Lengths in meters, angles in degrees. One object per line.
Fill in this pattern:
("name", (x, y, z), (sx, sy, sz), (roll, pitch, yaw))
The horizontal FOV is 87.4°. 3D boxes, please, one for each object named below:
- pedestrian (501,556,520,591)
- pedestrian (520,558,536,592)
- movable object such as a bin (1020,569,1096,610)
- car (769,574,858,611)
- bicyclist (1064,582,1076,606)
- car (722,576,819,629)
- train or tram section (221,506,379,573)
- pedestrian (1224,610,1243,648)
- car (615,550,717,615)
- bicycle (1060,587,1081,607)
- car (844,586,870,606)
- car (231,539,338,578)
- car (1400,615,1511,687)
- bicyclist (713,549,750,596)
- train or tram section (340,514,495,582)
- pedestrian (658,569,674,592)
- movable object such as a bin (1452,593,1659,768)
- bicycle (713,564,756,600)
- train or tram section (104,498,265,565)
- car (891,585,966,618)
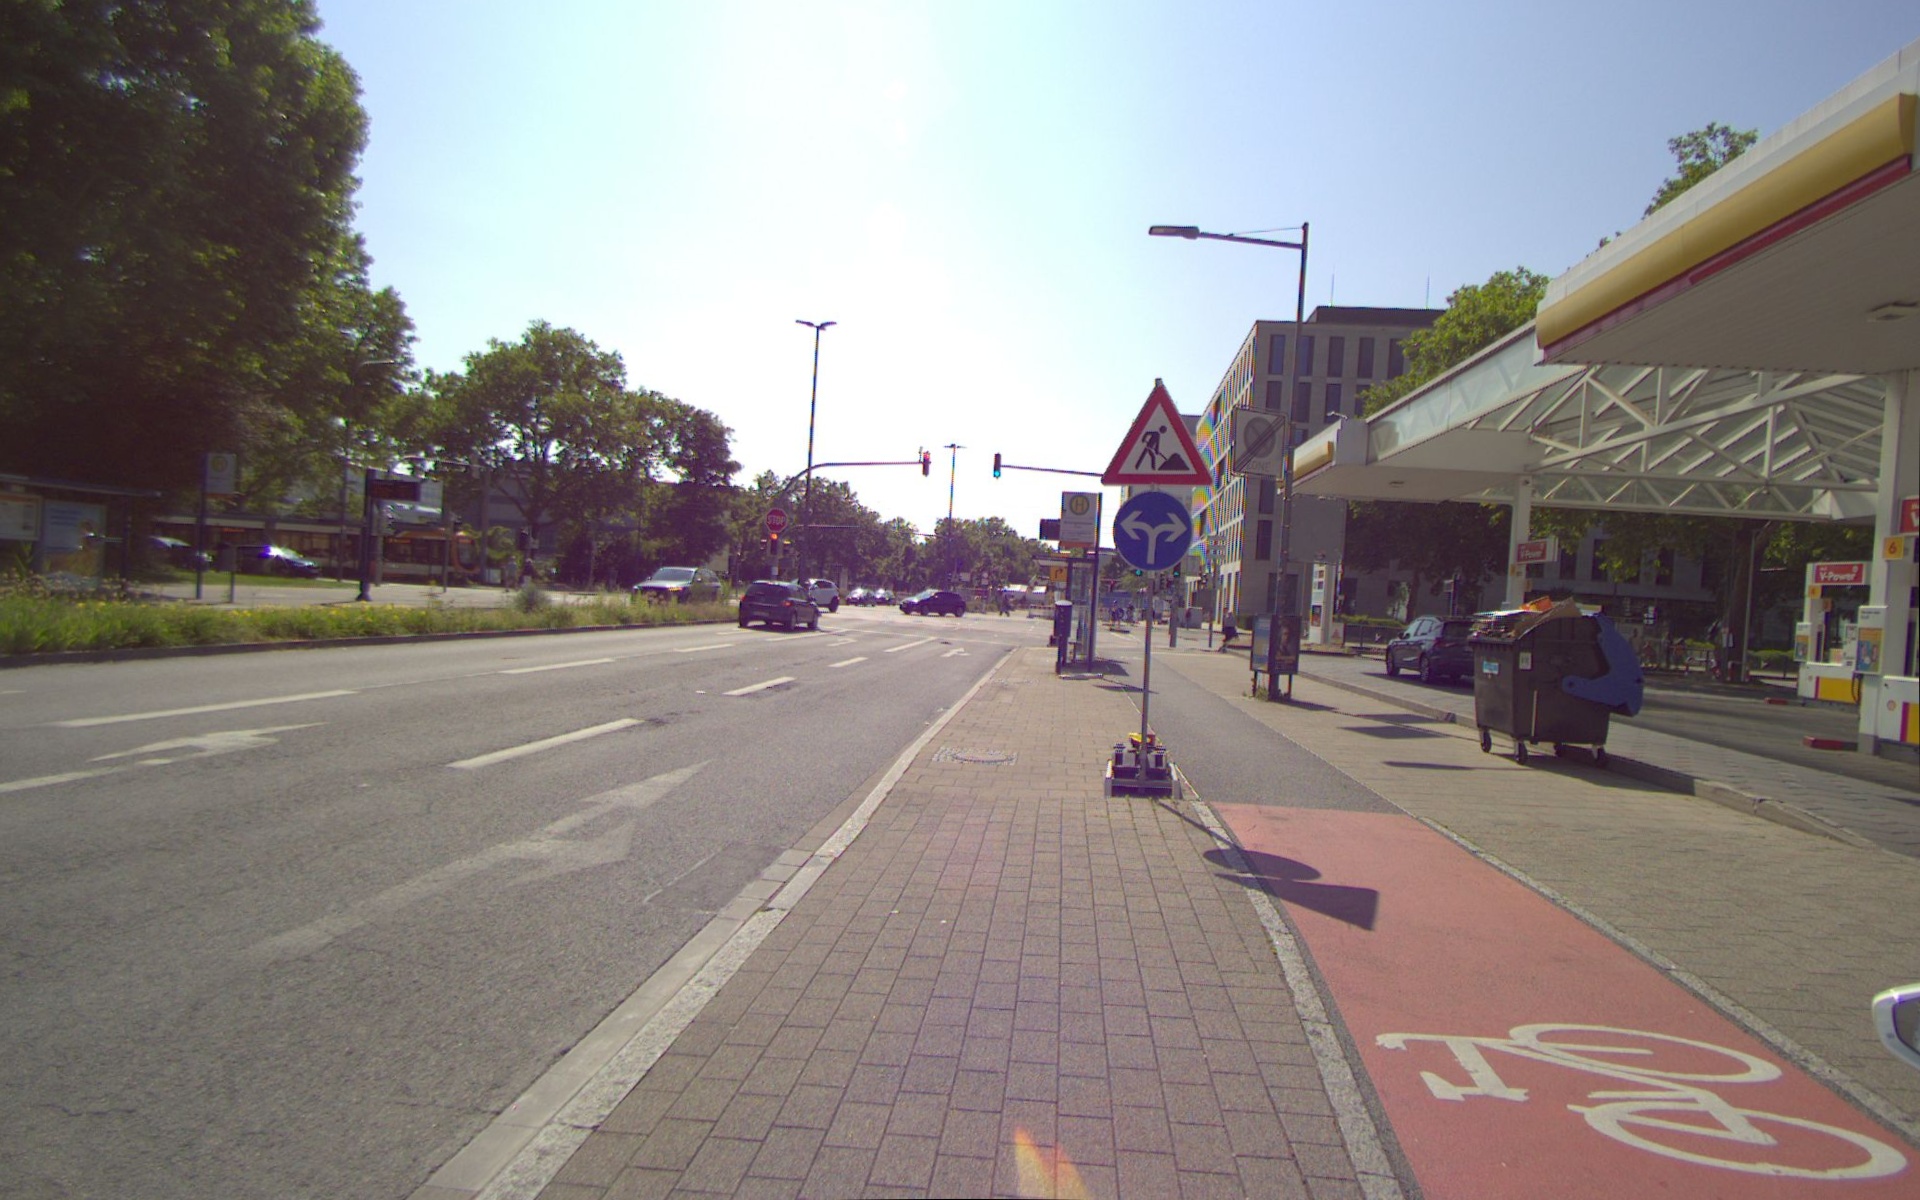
("pedestrian", (-23.697, -1.395, 52.957), (0.649, 1.749, 0.751), (3, 1, -12))
("pedestrian", (-22.835, -1.337, 53.141), (0.559, 1.749, 0.732), (3, 1, -12))
("movable object such as a bin", (13.003, -1.368, 133.061), (9.511, 4.610, 3.165), (4, 1, 8))
("car", (-7.398, -0.352, 51.186), (1.963, 1.658, 4.864), (4, 0, 27))
("bicyclist", (12.221, -0.668, 111.550), (1.051, 2.608, 0.828), (4, 0, 12))
("car", (-5.876, 0.079, 31.642), (1.960, 1.416, 4.001), (4, 0, 4))
("train or tram section", (-39.586, -3.577, 60.401), (7.428, 3.376, 3.121), (4, 0, 4))
("pedestrian", (11.711, 1.239, 43.053), (0.608, 1.564, 0.462), (4, 1, 5))
("car", (-10.394, -0.585, 35.902), (1.960, 2.040, 4.871), (4, 0, 2))
("bicycle", (12.248, -0.329, 111.547), (2.052, 1.987, 0.828), (5, 0, 12))
("car", (-8.679, -0.361, 84.112), (1.719, 1.529, 3.956), (4, 0, -11))
("car", (-28.830, -1.757, 42.918), (3.440, 1.395, 1.638), (4, 0, 4))
("car", (11.482, 1.126, 23.495), (1.622, 1.416, 3.643), (4, 0, 16))
("bicyclist", (-15.519, -1.840, 68.244), (1.572, 2.969, 2.354), (4, 0, 6))
("train or tram section", (-32.228, -3.056, 59.828), (7.428, 3.376, 3.121), (4, 0, 4))
("pedestrian", (-22.275, -1.484, 76.139), (0.644, 1.632, 0.940), (4, 1, 29))
("movable object such as a bin", (5.978, 0.760, 10.210), (1.285, 1.613, 1.396), (1, 0, 3))
("bicycle", (-15.484, -1.194, 69.068), (1.572, 2.299, 4.002), (4, 0, 6))
("train or tram section", (-46.984, -4.132, 60.991), (7.428, 3.376, 3.121), (4, 0, 4))
("car", (-1.857, 0.118, 59.300), (4.095, 1.660, 1.974), (3, 0, -43))
